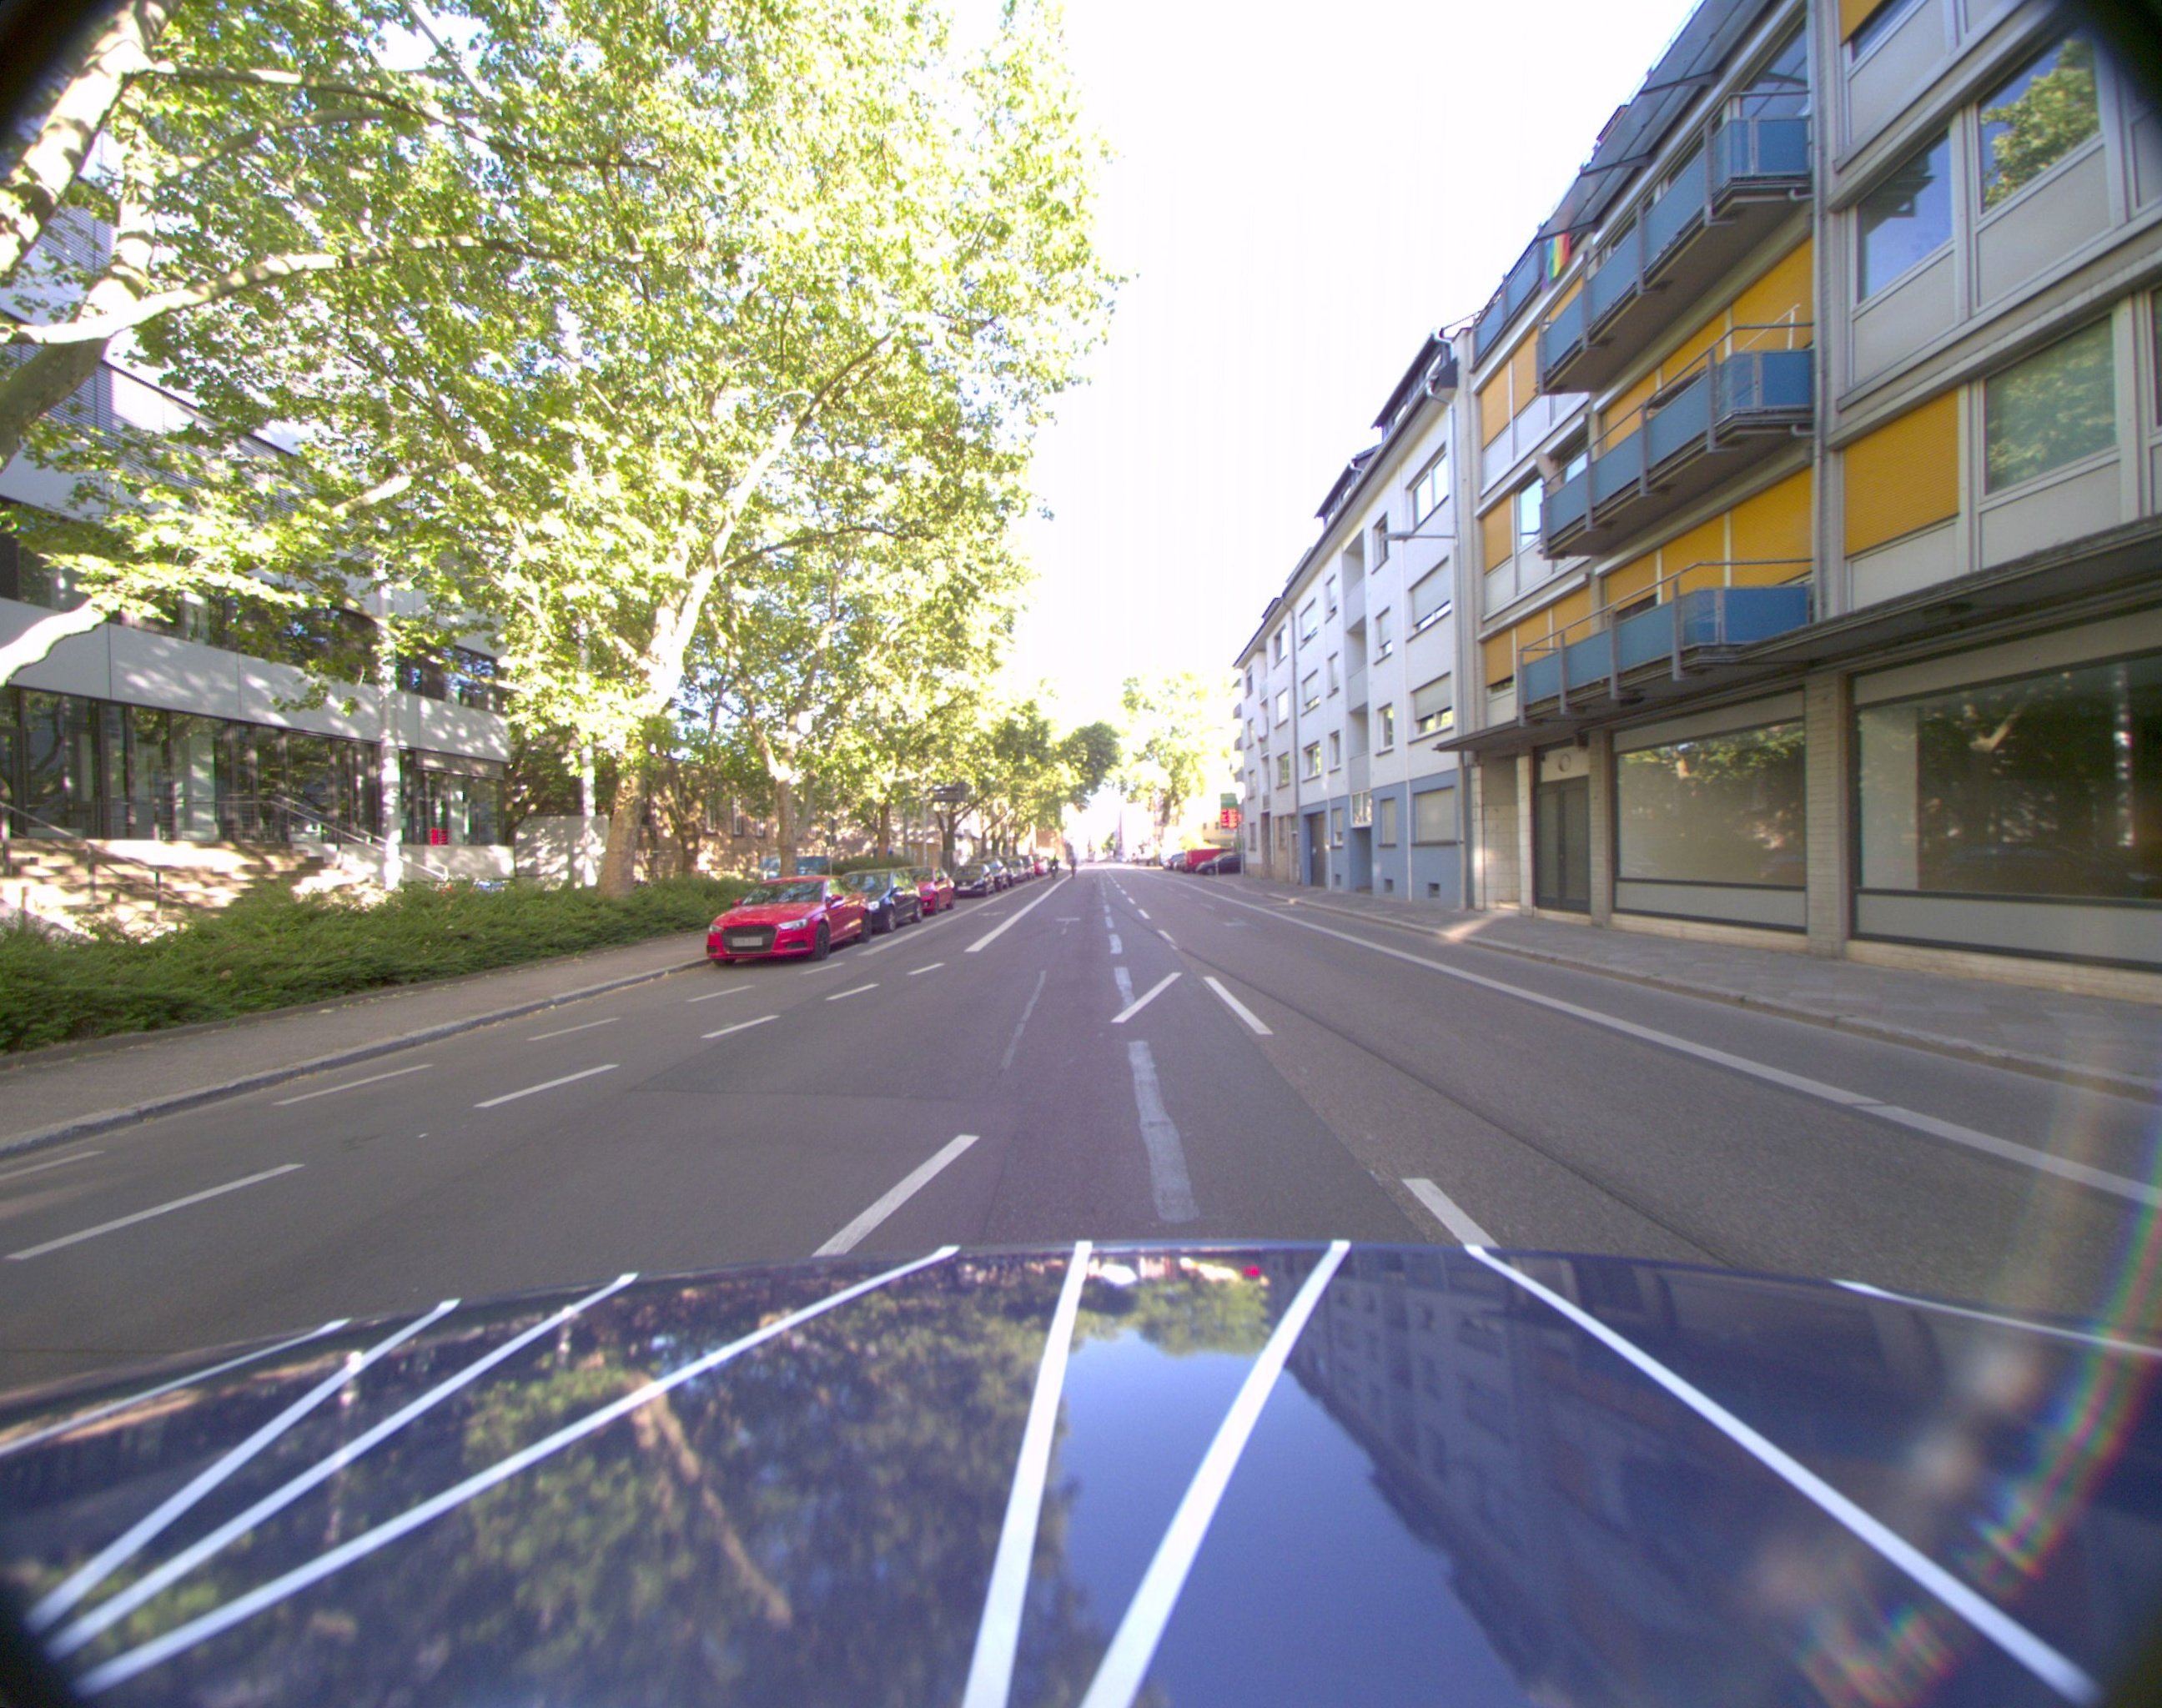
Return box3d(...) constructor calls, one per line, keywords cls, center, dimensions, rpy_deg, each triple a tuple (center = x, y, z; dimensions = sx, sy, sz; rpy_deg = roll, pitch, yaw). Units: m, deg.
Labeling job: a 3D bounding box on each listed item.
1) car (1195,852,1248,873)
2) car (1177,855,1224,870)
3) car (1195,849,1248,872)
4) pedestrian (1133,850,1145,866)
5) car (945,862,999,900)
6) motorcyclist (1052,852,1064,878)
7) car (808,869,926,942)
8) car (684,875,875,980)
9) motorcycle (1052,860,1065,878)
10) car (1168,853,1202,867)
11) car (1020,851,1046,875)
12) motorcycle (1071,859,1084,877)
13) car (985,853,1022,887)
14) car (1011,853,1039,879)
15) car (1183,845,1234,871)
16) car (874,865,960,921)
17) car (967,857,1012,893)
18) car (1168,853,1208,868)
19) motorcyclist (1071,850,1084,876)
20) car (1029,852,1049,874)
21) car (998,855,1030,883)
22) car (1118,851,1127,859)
box3d(cls="car", center=(10.087, 0.592, 54.734), dimensions=(3.508, 1.380, 1.490), rpy_deg=(-2, 1, 2))
box3d(cls="car", center=(9.808, 0.696, 62.593), dimensions=(3.687, 1.122, 1.345), rpy_deg=(-2, 1, 2))
box3d(cls="car", center=(10.530, 0.487, 57.103), dimensions=(3.687, 1.503, 1.490), rpy_deg=(-2, 1, 2))
box3d(cls="pedestrian", center=(6.443, 0.442, 84.059), dimensions=(0.894, 1.727, 0.827), rpy_deg=(-3, 1, -41))
box3d(cls="car", center=(-4.696, 1.115, 33.241), dimensions=(1.692, 1.414, 3.923), rpy_deg=(-2, 1, 0))
box3d(cls="motorcyclist", center=(-1.610, 0.776, 53.684), dimensions=(0.719, 1.733, 0.751), rpy_deg=(-2, 1, 1))
box3d(cls="car", center=(-5.052, 1.165, 18.415), dimensions=(1.669, 1.410, 3.697), rpy_deg=(-2, 1, 1))
box3d(cls="car", center=(-5.163, 1.182, 13.662), dimensions=(1.794, 1.384, 3.999), rpy_deg=(-2, 1, 0))
box3d(cls="motorcycle", center=(-1.602, 1.057, 53.709), dimensions=(0.799, 1.125, 2.236), rpy_deg=(-2, 1, 1))
box3d(cls="car", center=(10.318, 0.585, 75.472), dimensions=(3.271, 1.238, 1.345), rpy_deg=(-2, 1, 2))
box3d(cls="car", center=(-4.175, 0.728, 66.096), dimensions=(1.915, 1.940, 3.769), rpy_deg=(-2, 1, 0))
box3d(cls="motorcycle", center=(-0.221, 0.983, 54.547), dimensions=(0.865, 1.161, 1.929), rpy_deg=(-2, 1, 1))
box3d(cls="car", center=(-4.458, 0.857, 44.245), dimensions=(1.634, 1.781, 4.576), rpy_deg=(-2, 1, 0))
box3d(cls="car", center=(-4.041, 0.819, 55.244), dimensions=(1.634, 1.725, 3.769), rpy_deg=(-2, 1, 0))
box3d(cls="car", center=(10.056, 0.323, 59.948), dimensions=(3.688, 1.897, 1.490), rpy_deg=(-2, -1, -1))
box3d(cls="car", center=(-5.015, 1.135, 23.689), dimensions=(1.692, 1.441, 3.923), rpy_deg=(-2, 1, 1))
box3d(cls="car", center=(-4.521, 0.996, 38.112), dimensions=(1.634, 1.569, 4.231), rpy_deg=(-2, 1, 0))
box3d(cls="car", center=(10.263, 0.630, 73.035), dimensions=(3.687, 1.238, 1.345), rpy_deg=(-2, 1, 2))
box3d(cls="motorcyclist", center=(-0.247, 0.648, 54.748), dimensions=(0.833, 1.778, 0.913), rpy_deg=(-2, 1, 1))
box3d(cls="car", center=(-3.908, 0.812, 71.008), dimensions=(1.599, 1.835, 3.769), rpy_deg=(-2, 1, 0))
box3d(cls="car", center=(-4.357, 0.944, 50.117), dimensions=(1.634, 1.604, 4.576), rpy_deg=(-2, 1, 0))
box3d(cls="car", center=(10.820, 0.169, 196.999), dimensions=(1.997, 2.002, 4.002), rpy_deg=(-2, 0, 8))
